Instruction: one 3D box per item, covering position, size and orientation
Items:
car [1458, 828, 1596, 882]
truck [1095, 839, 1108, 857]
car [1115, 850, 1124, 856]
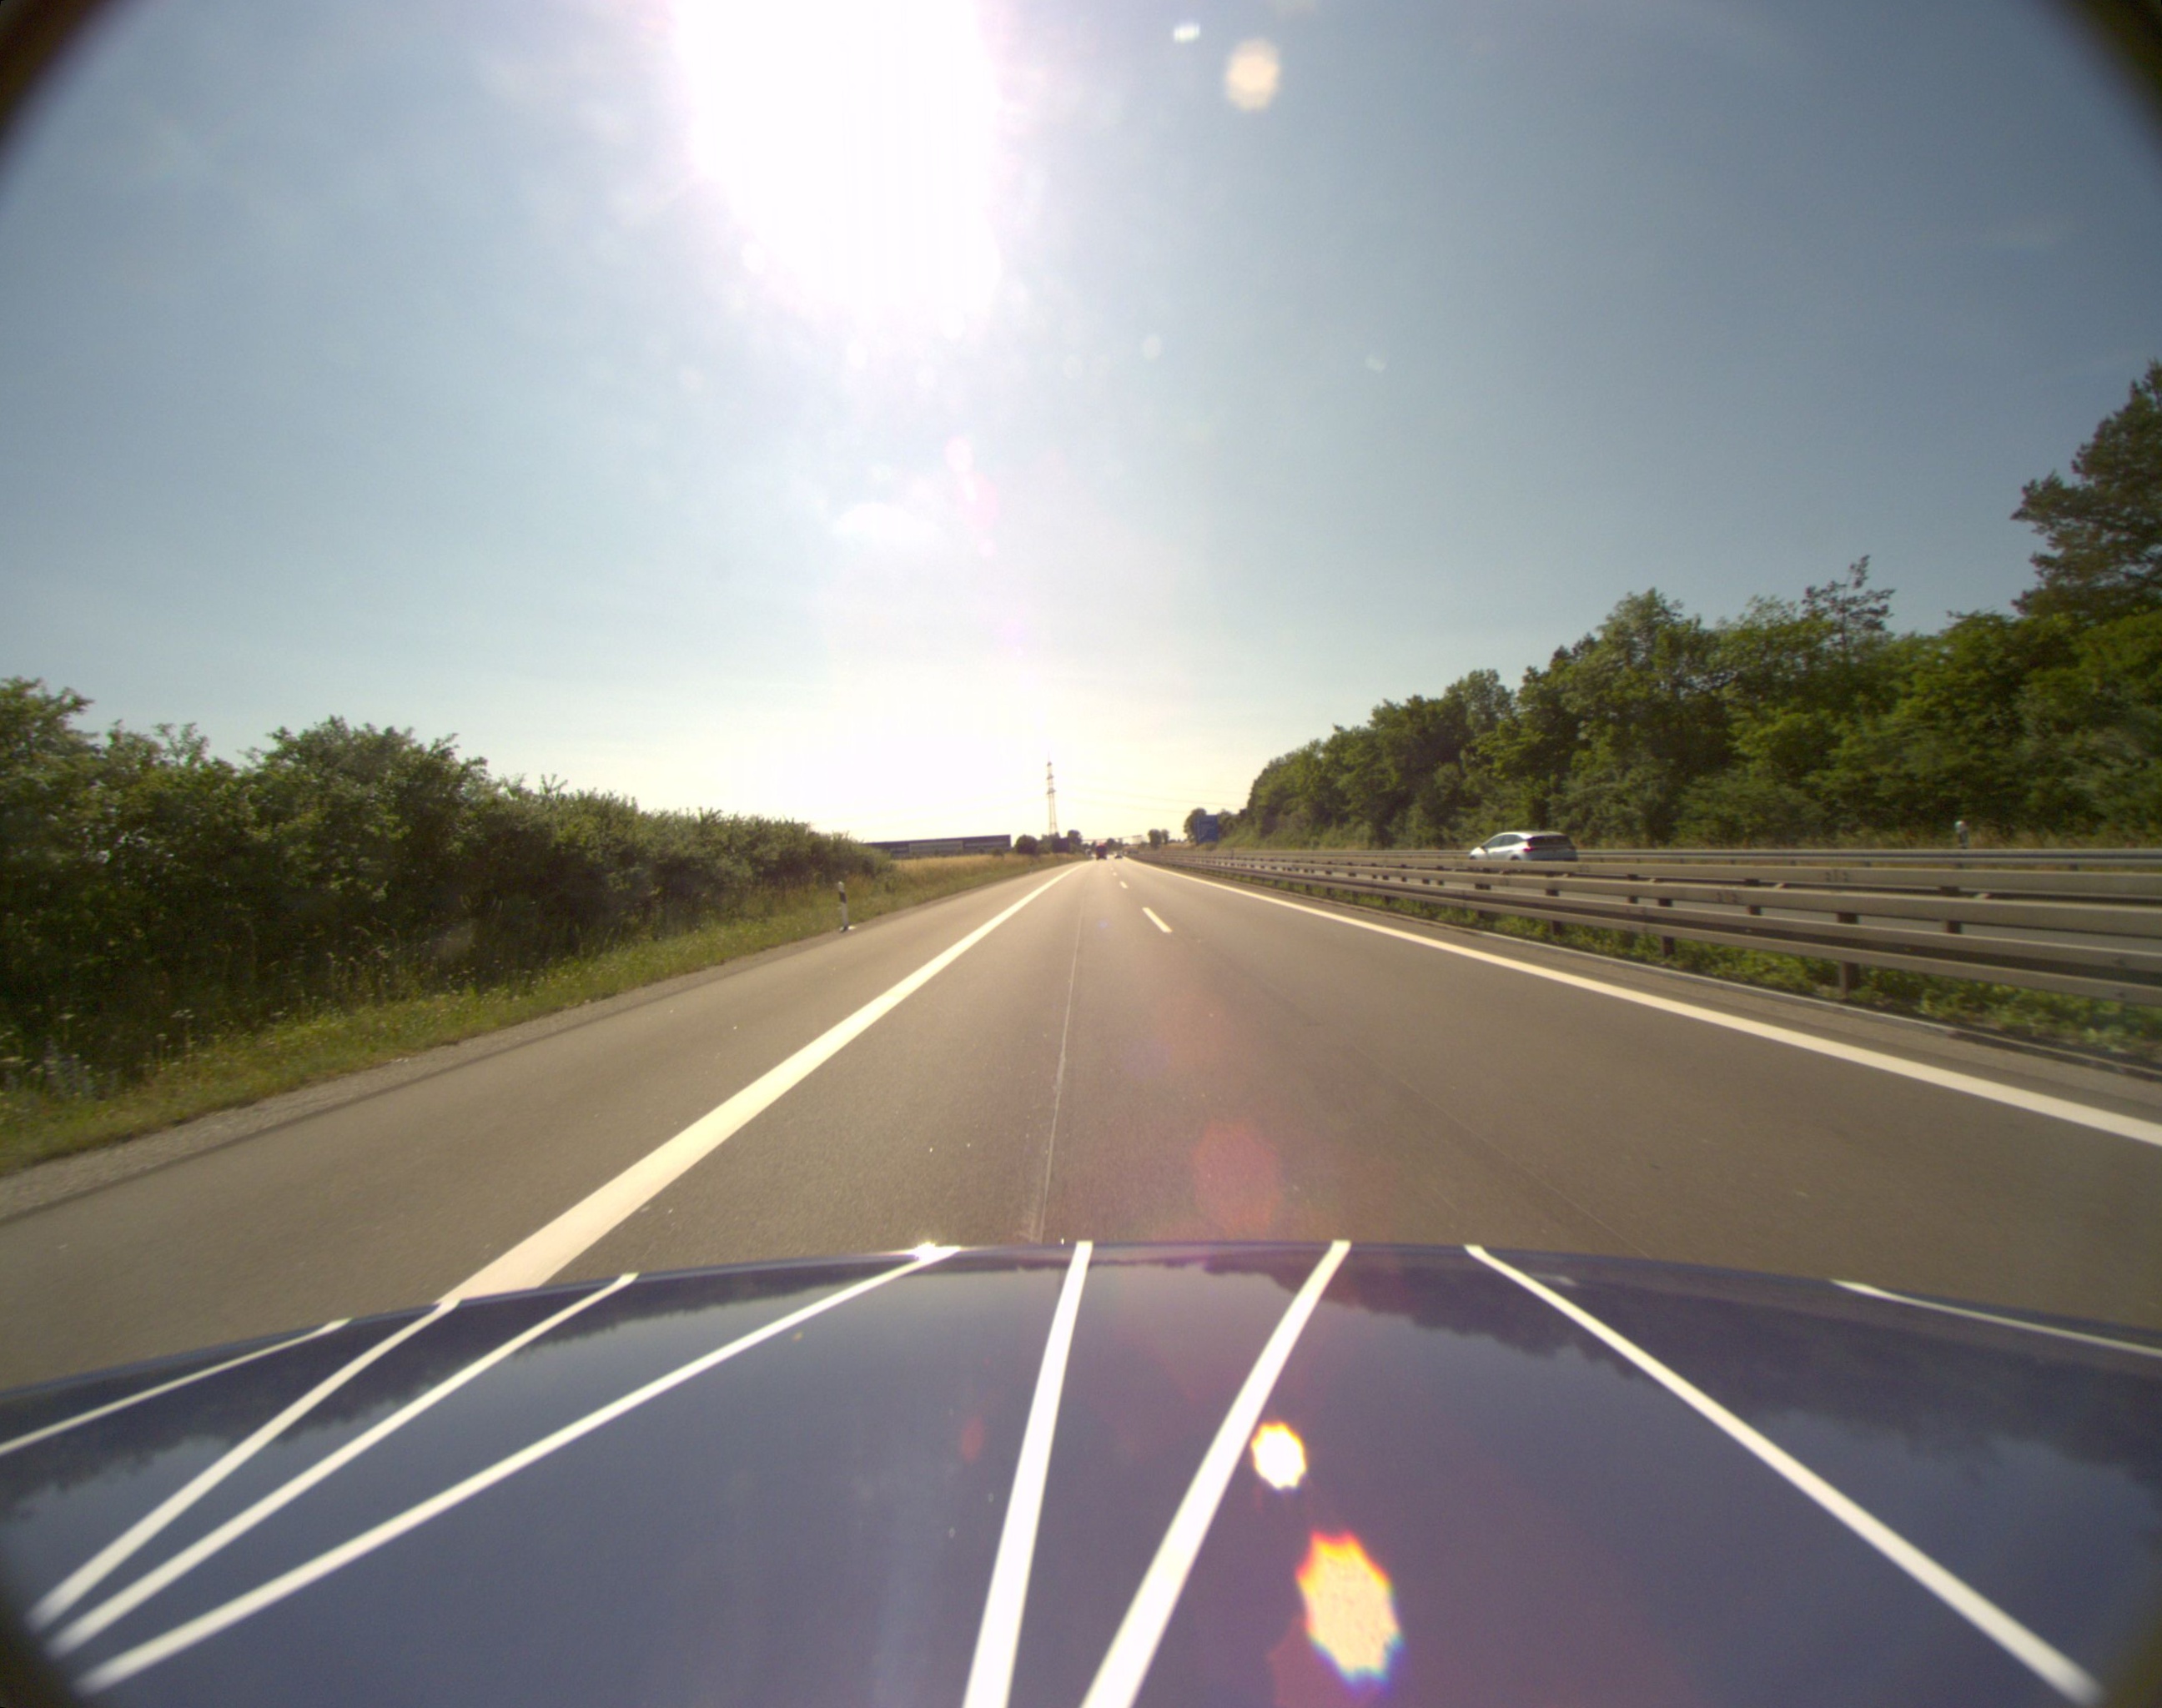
[{"bbox_3d":[14.902,0.015,25.751,1.998,1.603,4.636,-2,1,1],"label":"car"},{"bbox_3d":[4.867,-1.413,180.071,2.570,3.939,8.643,-5,0,1],"label":"truck"},{"bbox_3d":[8.871,-0.293,174.338,1.860,1.361,4.000,-2,1,2],"label":"car"}]
